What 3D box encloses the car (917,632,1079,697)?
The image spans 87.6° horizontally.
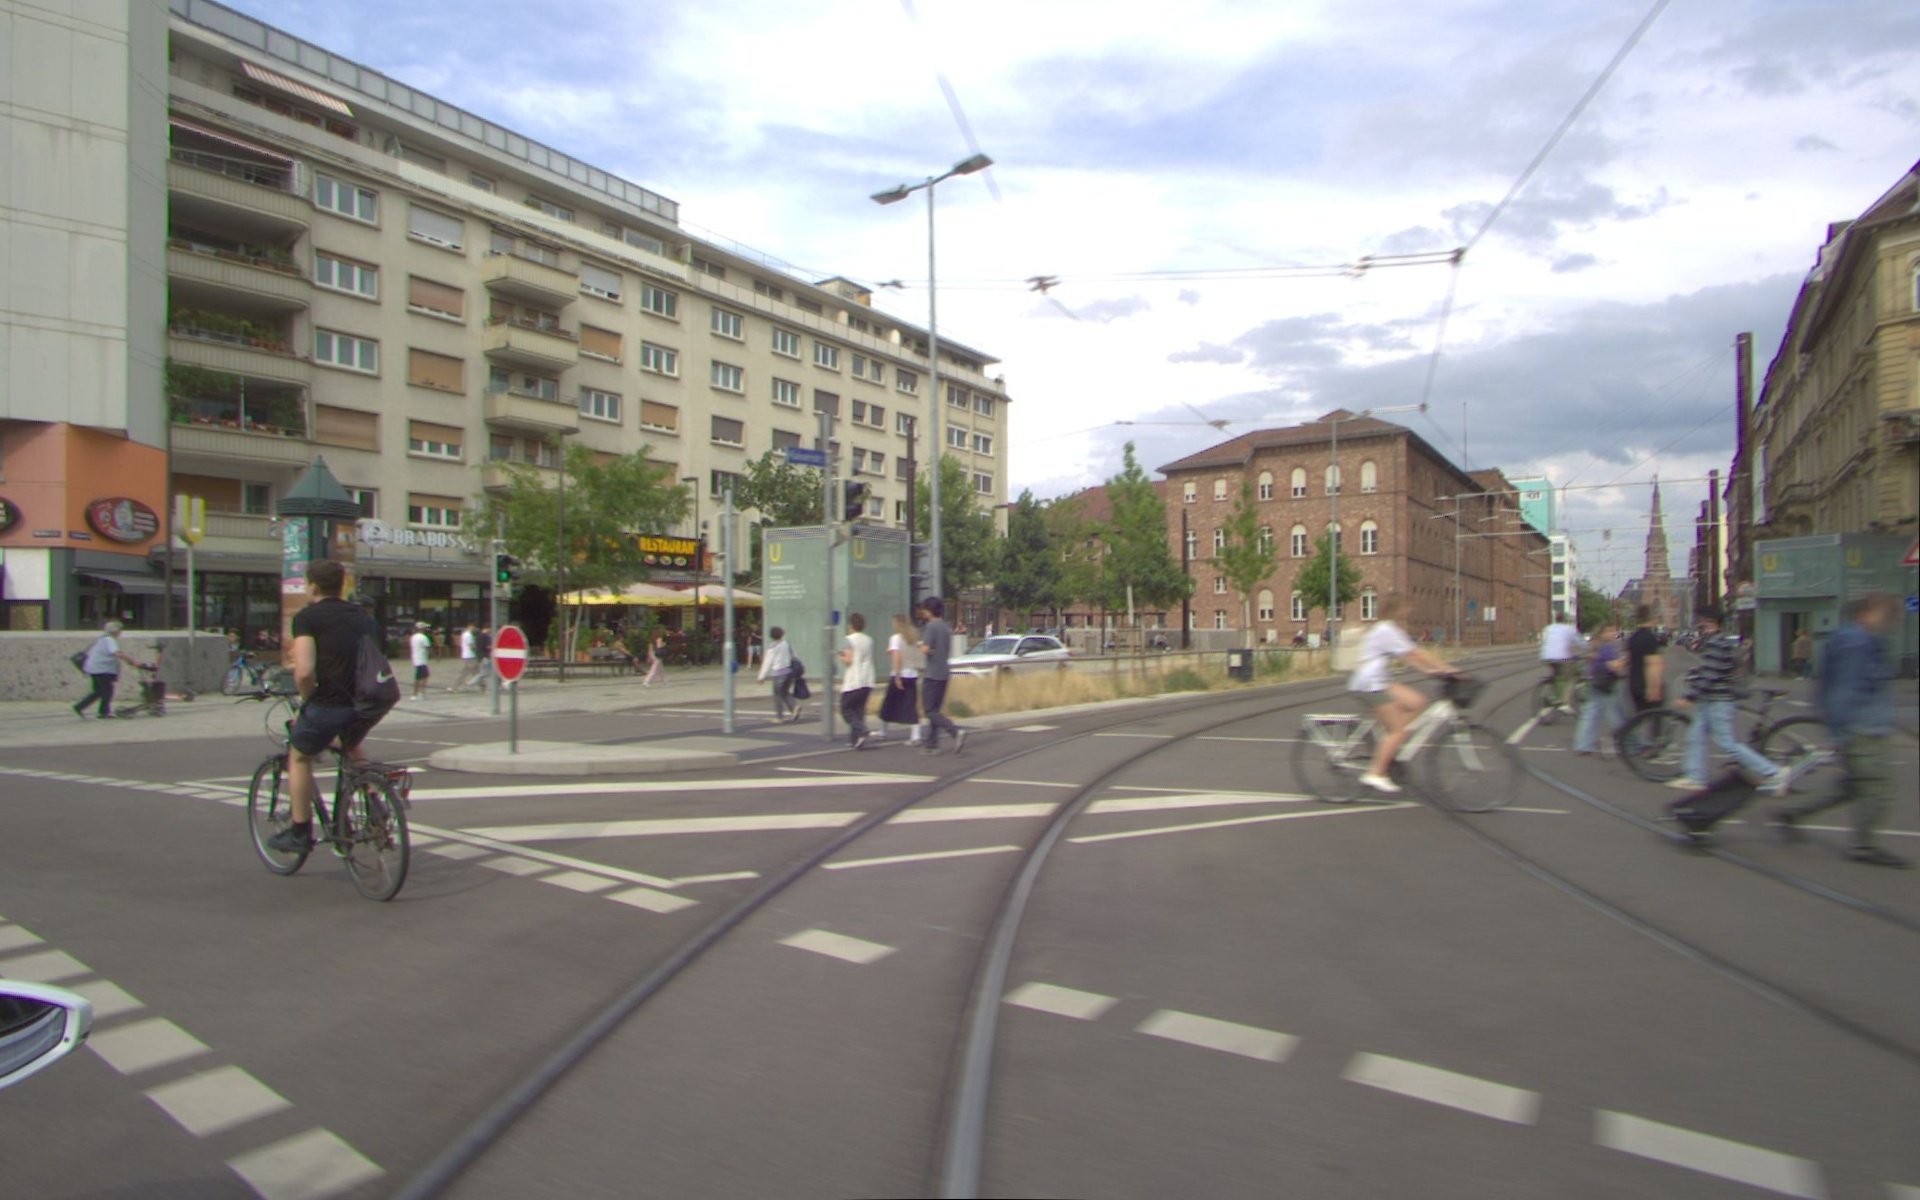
[{"bbox_3d":[1.074,1.589,25.846,1.974,1.531,4.574,-1,-2,36],"label":"car"}]

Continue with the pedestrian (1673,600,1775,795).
[{"bbox_3d":[7.031,0.872,9.240,0.716,1.707,0.518,0,-1,37],"label":"pedestrian"}]

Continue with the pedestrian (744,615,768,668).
[{"bbox_3d":[-7.345,1.502,36.086,0.576,1.891,0.546,1,0,31],"label":"pedestrian"}]

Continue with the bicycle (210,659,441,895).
[{"bbox_3d":[-3.735,0.939,5.824,1.990,1.136,0.404,0,-2,36],"label":"bicycle"}]

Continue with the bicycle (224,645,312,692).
[{"bbox_3d":[-16.308,1.584,23.670,0.534,1.026,2.449,0,-2,-4],"label":"bicycle"}]

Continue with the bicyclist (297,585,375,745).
[{"bbox_3d":[-7.083,0.722,11.402,0.690,1.731,0.903,1,-1,-30],"label":"bicyclist"}]

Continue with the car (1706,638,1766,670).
[{"bbox_3d":[33.180,2.268,42.890,1.813,1.282,4.130,-1,-2,35],"label":"car"}]

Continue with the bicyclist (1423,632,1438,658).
[{"bbox_3d":[32.748,3.120,69.673,0.850,1.845,0.500,0,-1,37],"label":"bicyclist"}]

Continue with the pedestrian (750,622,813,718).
[{"bbox_3d":[-2.899,1.138,16.263,0.833,1.520,0.552,-2,-2,20],"label":"pedestrian"}]

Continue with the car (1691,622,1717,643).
[{"bbox_3d":[74.474,3.260,100.281,1.974,1.926,3.978,-1,-4,36],"label":"car"}]

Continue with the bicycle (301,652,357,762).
[{"bbox_3d":[-7.089,1.177,11.298,0.386,1.135,1.912,1,-4,-28],"label":"bicycle"}]

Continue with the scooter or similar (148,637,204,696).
[{"bbox_3d":[-16.680,1.408,21.307,1.105,1.228,0.286,0,-1,13],"label":"scooter or similar"}]

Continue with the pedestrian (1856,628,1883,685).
[{"bbox_3d":[27.371,1.700,30.137,0.506,1.706,0.423,1,-1,-21],"label":"pedestrian"}]

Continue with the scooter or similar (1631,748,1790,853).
[{"bbox_3d":[5.112,1.350,6.864,0.803,0.581,0.506,-1,-2,29],"label":"scooter or similar"}]

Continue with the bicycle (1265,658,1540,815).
[{"bbox_3d":[3.655,1.099,8.413,2.041,1.136,0.390,1,-1,24],"label":"bicycle"}]

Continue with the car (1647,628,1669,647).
[{"bbox_3d":[77.513,4.132,111.219,1.933,1.926,3.978,-1,-4,36],"label":"car"}]

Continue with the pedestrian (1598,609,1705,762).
[{"bbox_3d":[7.833,0.954,11.362,0.709,1.669,0.706,1,-1,-16],"label":"pedestrian"}]

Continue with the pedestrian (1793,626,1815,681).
[{"bbox_3d":[26.491,1.675,31.431,0.508,1.706,0.422,0,-1,37],"label":"pedestrian"}]

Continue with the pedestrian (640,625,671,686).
[{"bbox_3d":[-8.420,1.516,27.690,0.434,1.662,0.674,0,-1,36],"label":"pedestrian"}]

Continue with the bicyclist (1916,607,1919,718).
[{"bbox_3d":[14.192,0.889,14.009,0.928,1.579,0.746,1,-1,-3],"label":"bicyclist"}]

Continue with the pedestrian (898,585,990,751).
[{"bbox_3d":[-0.190,0.779,11.846,0.865,1.878,0.637,0,-1,36],"label":"pedestrian"}]

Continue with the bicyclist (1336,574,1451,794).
[{"bbox_3d":[3.627,0.679,8.387,0.848,1.731,0.641,0,-1,25],"label":"bicyclist"}]

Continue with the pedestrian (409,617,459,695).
[{"bbox_3d":[-11.786,1.245,22.439,0.619,1.702,0.801,0,-1,38],"label":"pedestrian"}]

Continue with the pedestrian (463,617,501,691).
[{"bbox_3d":[-11.619,1.298,24.334,0.409,1.759,0.697,0,-1,36],"label":"pedestrian"}]

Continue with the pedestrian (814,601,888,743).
[{"bbox_3d":[-1.358,0.881,12.484,0.784,1.707,0.468,-1,-1,31],"label":"pedestrian"}]

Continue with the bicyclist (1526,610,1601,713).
[{"bbox_3d":[9.759,0.989,16.192,0.848,1.623,0.641,1,-1,-18],"label":"bicyclist"}]

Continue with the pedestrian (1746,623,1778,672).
[{"bbox_3d":[28.773,1.704,35.929,0.723,1.704,0.603,1,-5,-30],"label":"pedestrian"}]

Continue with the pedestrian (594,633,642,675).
[{"bbox_3d":[-10.608,1.694,31.081,0.923,1.260,1.028,-1,-4,39],"label":"pedestrian"}]

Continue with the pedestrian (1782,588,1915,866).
[{"bbox_3d":[5.835,0.794,6.609,0.592,1.709,0.637,0,-1,36],"label":"pedestrian"}]

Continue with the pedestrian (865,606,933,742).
[{"bbox_3d":[-0.789,0.941,13.016,0.693,1.717,0.635,0,-1,16],"label":"pedestrian"}]

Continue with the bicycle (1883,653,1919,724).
[{"bbox_3d":[14.101,1.249,14.106,1.772,0.962,0.543,1,-1,-3],"label":"bicycle"}]

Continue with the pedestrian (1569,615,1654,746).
[{"bbox_3d":[7.856,0.961,12.085,0.618,1.530,0.592,1,-1,-16],"label":"pedestrian"}]

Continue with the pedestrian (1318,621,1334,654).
[{"bbox_3d":[22.662,2.298,61.937,0.749,2.039,0.904,-1,-1,32],"label":"pedestrian"}]

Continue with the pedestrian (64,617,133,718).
[{"bbox_3d":[-15.525,1.187,18.070,0.928,1.763,0.679,1,0,-40],"label":"pedestrian"}]

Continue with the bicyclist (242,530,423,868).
[{"bbox_3d":[-3.522,0.523,5.618,0.851,1.731,0.557,0,-1,35],"label":"bicyclist"}]

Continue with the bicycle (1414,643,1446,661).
[{"bbox_3d":[32.715,3.615,69.746,1.948,1.180,0.419,-1,-1,36],"label":"bicycle"}]

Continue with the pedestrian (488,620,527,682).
[{"bbox_3d":[-11.743,1.322,26.000,0.409,1.596,0.816,0,-1,37],"label":"pedestrian"}]

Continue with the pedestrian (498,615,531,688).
[{"bbox_3d":[-10.919,1.261,24.559,0.409,1.759,0.591,0,-1,36],"label":"pedestrian"}]

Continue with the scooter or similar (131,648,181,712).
[{"bbox_3d":[-14.903,1.475,18.554,0.694,1.125,0.603,0,0,-42],"label":"scooter or similar"}]

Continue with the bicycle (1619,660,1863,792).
[{"bbox_3d":[7.395,1.162,9.579,1.807,1.124,0.395,-1,-2,37],"label":"bicycle"}]

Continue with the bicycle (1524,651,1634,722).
[{"bbox_3d":[9.964,1.380,16.107,1.887,1.101,0.391,1,-1,-19],"label":"bicycle"}]
